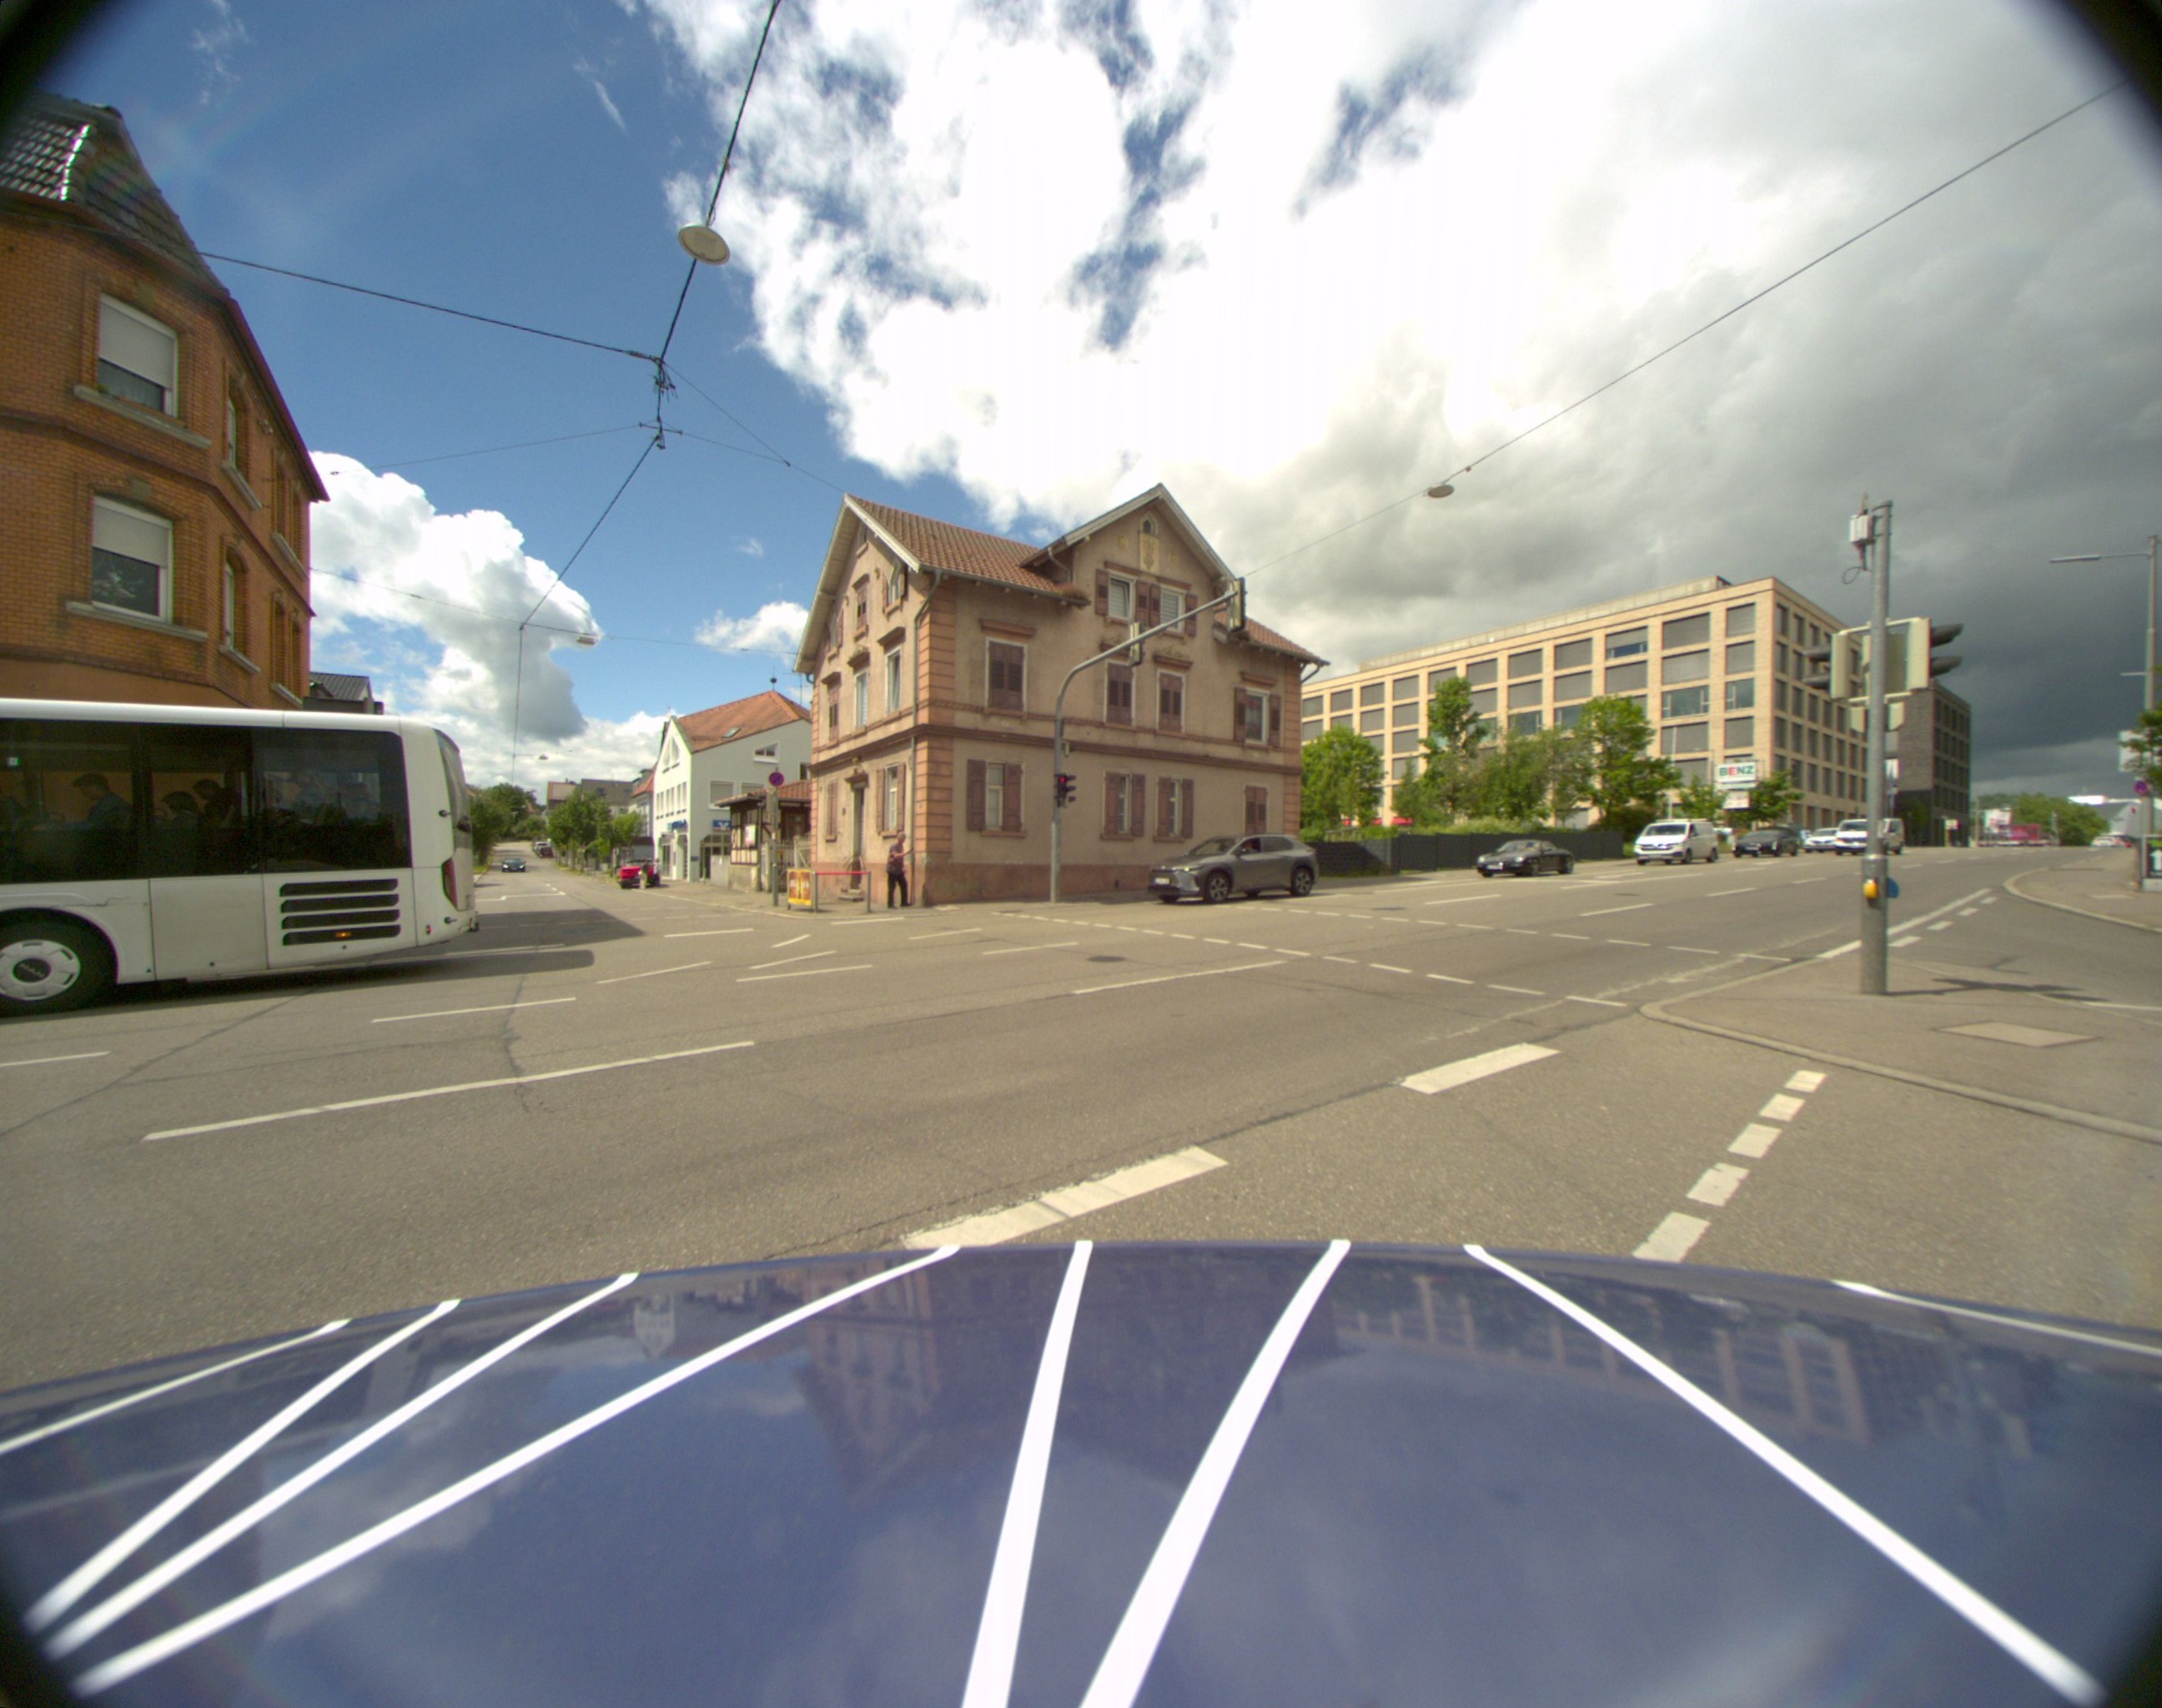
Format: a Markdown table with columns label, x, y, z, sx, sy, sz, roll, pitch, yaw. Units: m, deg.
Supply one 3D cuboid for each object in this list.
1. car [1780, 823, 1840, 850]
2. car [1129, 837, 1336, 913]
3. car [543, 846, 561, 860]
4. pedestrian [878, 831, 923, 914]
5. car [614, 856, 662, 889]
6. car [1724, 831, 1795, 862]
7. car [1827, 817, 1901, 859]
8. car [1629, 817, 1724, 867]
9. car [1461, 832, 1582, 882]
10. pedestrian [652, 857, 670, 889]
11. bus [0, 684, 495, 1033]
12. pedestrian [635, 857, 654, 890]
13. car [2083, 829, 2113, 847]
| label | x | y | z | sx | sy | sz | roll | pitch | yaw |
| --- | --- | --- | --- | --- | --- | --- | --- | --- | --- |
| car | 47.006 | -1.146 | 48.989 | 4.337 | 1.525 | 1.995 | -4 | 2 | -35 |
| car | 3.825 | 0.434 | 18.672 | 5.107 | 1.569 | 1.995 | -2 | 1 | -35 |
| car | -85.237 | -0.154 | 122.485 | 2.003 | 2.002 | 3.990 | -4 | 2 | -32 |
| pedestrian | -4.244 | 0.417 | 17.803 | 0.725 | 1.854 | 1.046 | -4 | 2 | -26 |
| car | -23.598 | 0.951 | 40.433 | 2.003 | 1.532 | 3.990 | -4 | 2 | -32 |
| car | 37.305 | -0.409 | 41.732 | 4.337 | 1.458 | 1.995 | -4 | 2 | -35 |
| car | 41.755 | -0.872 | 40.490 | 4.998 | 1.981 | 1.995 | -3 | 2 | -35 |
| car | 27.135 | -0.555 | 34.566 | 4.824 | 2.000 | 1.995 | -4 | 2 | -34 |
| car | 15.441 | 0.078 | 26.576 | 4.337 | 1.458 | 1.995 | -4 | 2 | -35 |
| pedestrian | -21.441 | 0.946 | 38.779 | 0.613 | 1.587 | 0.722 | -4 | 2 | -23 |
| bus | -13.559 | 0.202 | 7.066 | 12.444 | 3.369 | 2.962 | -4 | 2 | -33 |
| pedestrian | -22.048 | 0.985 | 38.388 | 0.568 | 1.587 | 0.763 | -3 | 2 | -17 |
| car | 119.037 | -1.903 | 88.902 | 4.998 | 1.863 | 1.995 | -3 | 2 | -35 |
